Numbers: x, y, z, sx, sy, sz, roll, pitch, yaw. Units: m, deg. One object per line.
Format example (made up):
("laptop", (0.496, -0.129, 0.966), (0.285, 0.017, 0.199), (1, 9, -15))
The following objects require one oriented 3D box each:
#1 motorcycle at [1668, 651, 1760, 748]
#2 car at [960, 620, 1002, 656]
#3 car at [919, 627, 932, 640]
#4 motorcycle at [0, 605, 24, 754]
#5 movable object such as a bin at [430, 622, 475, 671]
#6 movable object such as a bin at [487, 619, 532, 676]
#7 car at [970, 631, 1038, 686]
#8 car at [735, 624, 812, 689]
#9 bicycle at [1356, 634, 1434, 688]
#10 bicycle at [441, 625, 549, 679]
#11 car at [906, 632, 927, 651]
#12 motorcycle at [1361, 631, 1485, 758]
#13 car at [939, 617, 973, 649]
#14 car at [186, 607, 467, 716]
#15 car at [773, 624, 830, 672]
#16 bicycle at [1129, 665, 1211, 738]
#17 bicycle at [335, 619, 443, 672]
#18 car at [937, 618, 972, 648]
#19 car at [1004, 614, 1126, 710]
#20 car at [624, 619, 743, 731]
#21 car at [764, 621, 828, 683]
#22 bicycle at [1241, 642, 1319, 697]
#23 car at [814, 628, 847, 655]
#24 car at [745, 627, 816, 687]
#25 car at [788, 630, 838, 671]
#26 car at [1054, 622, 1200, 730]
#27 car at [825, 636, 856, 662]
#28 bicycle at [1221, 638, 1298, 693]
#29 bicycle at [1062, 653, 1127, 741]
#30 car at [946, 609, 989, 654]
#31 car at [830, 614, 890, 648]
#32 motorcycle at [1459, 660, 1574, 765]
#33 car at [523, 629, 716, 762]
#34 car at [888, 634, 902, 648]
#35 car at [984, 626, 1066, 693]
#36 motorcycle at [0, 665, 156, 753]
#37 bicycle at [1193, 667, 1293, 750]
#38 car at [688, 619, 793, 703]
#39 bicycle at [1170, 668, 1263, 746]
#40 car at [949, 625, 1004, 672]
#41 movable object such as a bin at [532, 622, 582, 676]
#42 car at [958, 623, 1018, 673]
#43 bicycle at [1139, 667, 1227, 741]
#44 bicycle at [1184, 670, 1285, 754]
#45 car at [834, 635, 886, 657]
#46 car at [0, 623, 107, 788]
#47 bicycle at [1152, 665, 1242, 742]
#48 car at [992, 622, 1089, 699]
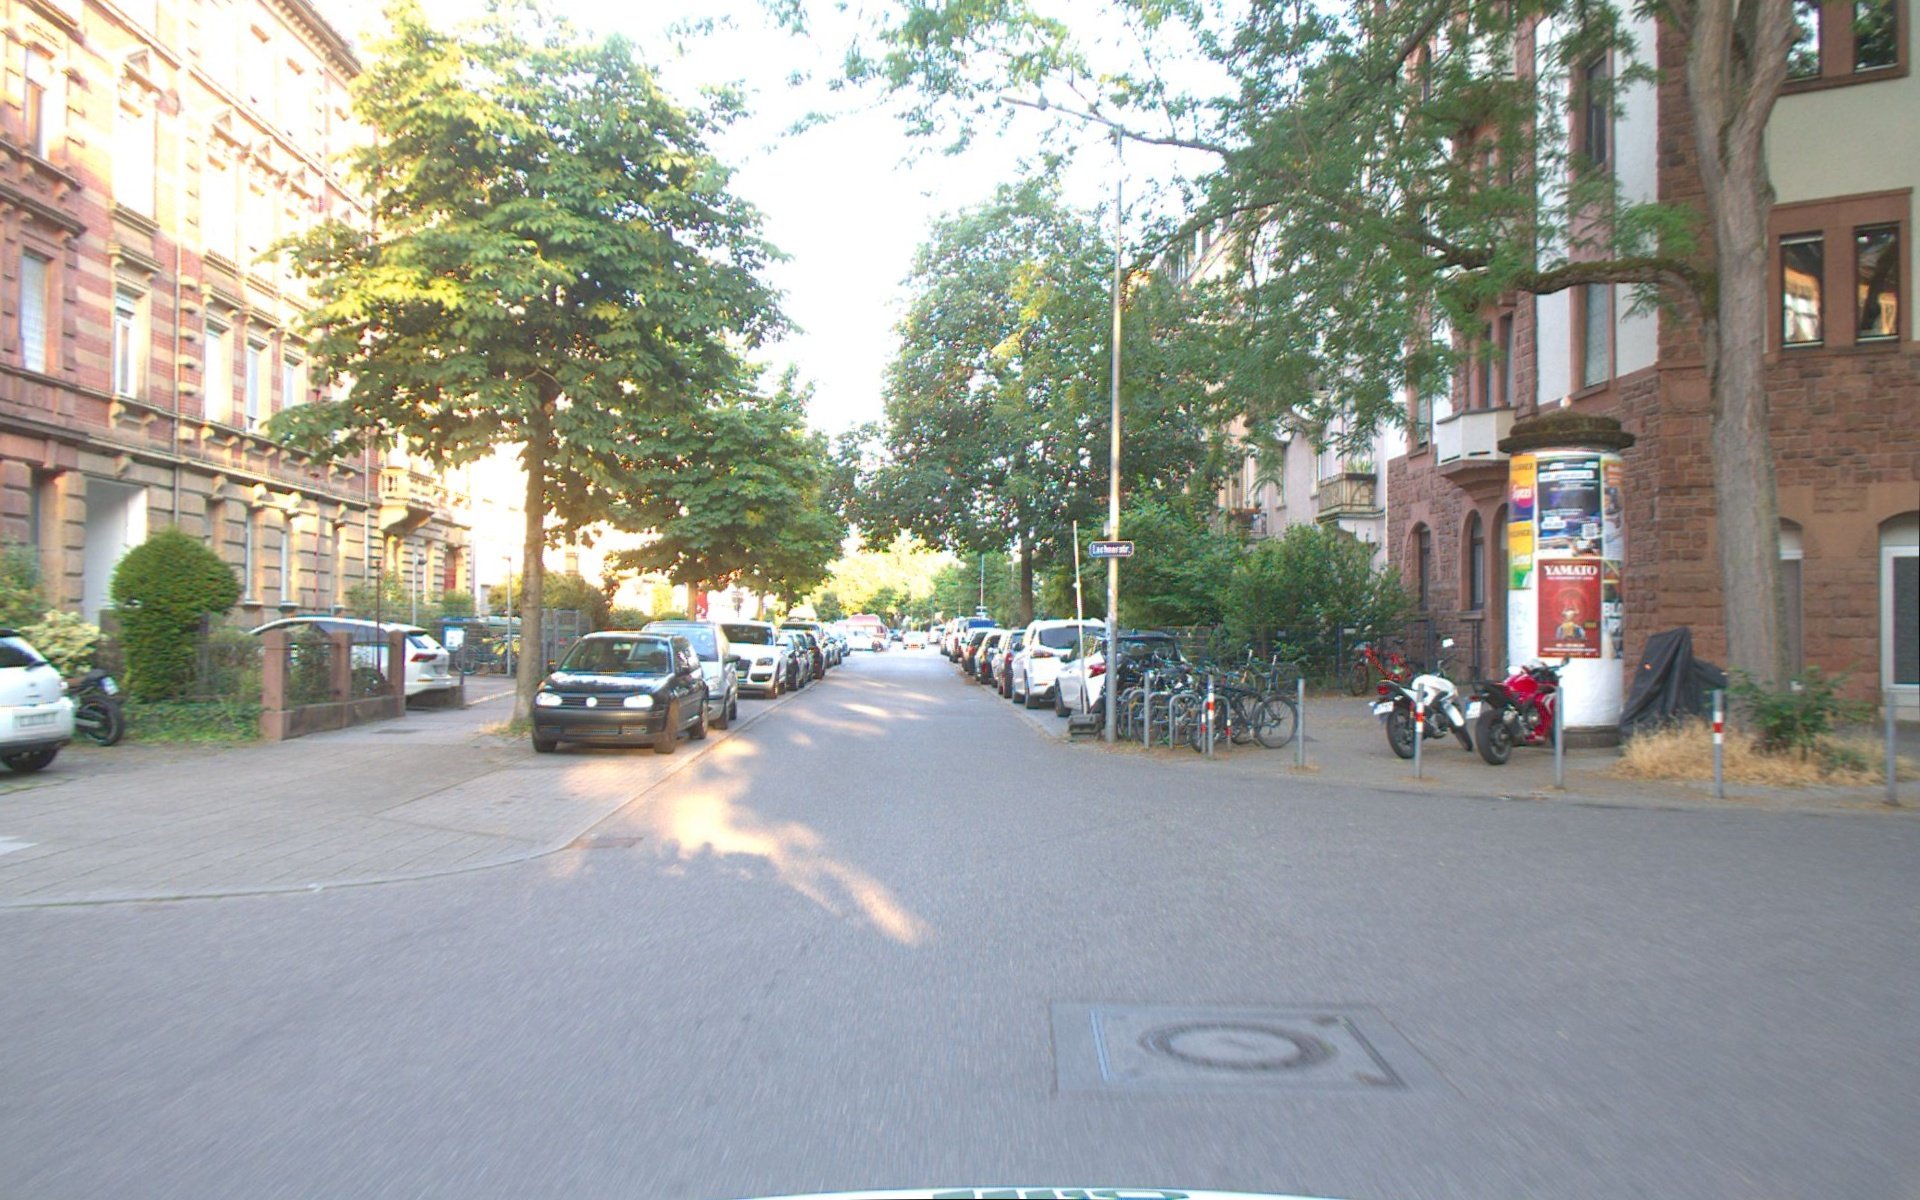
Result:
("motorcycle", (9.506, 1.219, 20.803), (0.430, 1.098, 2.097), (0, 0, 43))
("car", (0.892, 1.671, 72.499), (1.508, 1.548, 3.428), (1, -1, -4))
("car", (-4.475, 4.307, 215.071), (1.681, 1.624, 3.481), (1, -1, -2))
("motorcycle", (-12.122, 0.881, 18.682), (2.791, 1.667, 0.675), (0, -1, 6))
("movable object such as a bin", (-13.510, 1.245, 44.061), (1.079, 1.230, 1.001), (3, 0, -16))
("movable object such as a bin", (-11.916, 1.243, 43.766), (1.079, 1.439, 1.001), (3, 0, -16))
("car", (1.221, 1.663, 47.839), (1.653, 1.466, 4.207), (-2, -1, -2))
("car", (-4.776, 1.457, 42.802), (1.681, 1.594, 3.779), (1, -2, -2))
("bicycle", (8.740, 1.219, 33.226), (1.479, 1.052, 0.330), (-1, 0, -4))
("bicycle", (-11.656, 1.305, 41.493), (2.476, 1.213, 0.644), (3, -1, 4))
("car", (-3.793, 3.591, 143.275), (1.776, 1.624, 3.481), (1, -1, -2))
("motorcycle", (5.702, 1.121, 20.292), (0.575, 1.433, 2.200), (0, 0, 41))
("car", (-0.253, 1.928, 96.795), (1.653, 1.843, 3.936), (1, -1, -4))
("car", (-10.647, 1.022, 28.030), (4.012, 1.554, 1.708), (3, -1, -3))
("car", (-5.539, 1.666, 58.136), (1.681, 1.624, 4.517), (1, -1, -2))
("bicycle", (2.971, 1.429, 23.366), (1.211, 0.968, 0.327), (0, 0, -30))
("bicycle", (-14.561, 1.161, 42.213), (2.484, 1.213, 0.641), (3, -1, -13))
("car", (-0.328, 1.818, 90.634), (1.653, 1.634, 3.936), (1, -1, -4))
("car", (1.992, 1.185, 32.635), (1.763, 1.741, 4.596), (0, -1, -4))
("car", (-4.303, 1.126, 26.195), (1.564, 1.631, 3.740), (1, -1, -5))
("car", (-5.021, 1.556, 51.163), (1.681, 1.822, 4.213), (1, -1, -2))
("bicycle", (6.359, 1.371, 32.914), (1.479, 1.052, 0.330), (-1, 0, -4))
("car", (-7.441, 2.397, 95.311), (1.681, 1.512, 3.629), (1, -2, -1))
("car", (-5.057, 1.581, 46.968), (1.681, 1.594, 3.786), (1, -1, -2))
("car", (-5.567, 1.887, 62.936), (1.681, 1.491, 3.985), (1, -1, -2))
("car", (2.634, 1.171, 26.837), (1.654, 1.620, 3.654), (0, -1, -6))
("car", (-7.306, 2.980, 101.234), (1.681, 1.466, 3.629), (1, -1, -1))
("bicycle", (6.054, 1.319, 33.424), (1.479, 1.052, 0.330), (-1, 0, -4))
("bicycle", (1.933, 1.353, 23.551), (0.434, 1.194, 1.635), (0, -1, 23))
("car", (0.338, 1.469, 76.207), (1.647, 1.975, 3.876), (1, -1, -4))
("car", (-7.148, 2.231, 118.451), (4.263, 2.359, 1.744), (1, -1, -4))
("motorcycle", (6.547, 1.289, 19.381), (0.430, 1.098, 2.199), (0, 0, 43))
("car", (-4.217, 1.138, 21.033), (1.583, 1.496, 3.961), (1, -1, 1))
("car", (-8.095, 5.073, 205.435), (1.681, 1.624, 3.481), (1, -1, -2))
("car", (1.629, 1.500, 42.534), (1.653, 1.634, 3.744), (1, -1, -4))
("motorcycle", (-10.672, 1.268, 19.472), (2.188, 0.975, 0.588), (1, -1, 7))
("bicycle", (3.613, 1.376, 21.141), (1.200, 1.005, 0.330), (-1, 0, -6))
("car", (-4.875, 1.321, 37.284), (1.883, 1.747, 4.425), (1, -1, -2))
("bicycle", (3.364, 1.394, 21.674), (1.205, 0.980, 0.328), (0, 0, -19))
("car", (0.580, 1.753, 60.232), (1.653, 1.634, 3.936), (1, -1, -4))
("movable object such as a bin", (-10.710, 1.294, 43.978), (0.992, 1.344, 1.005), (2, 0, 3))
("car", (0.917, 1.612, 55.923), (1.653, 1.634, 3.936), (1, -1, -4))
("bicycle", (3.071, 1.418, 22.756), (1.208, 0.964, 0.328), (0, 0, -25))
("bicycle", (3.437, 1.404, 20.757), (1.200, 1.004, 0.330), (-1, 0, -4))
("car", (-7.010, 3.213, 115.659), (3.548, 1.487, 1.604), (1, -1, -6))
("car", (-10.422, 0.960, 15.929), (3.487, 1.472, 1.819), (1, 0, 7))
("bicycle", (3.164, 1.371, 22.060), (1.208, 0.974, 0.328), (0, 0, -25))
("car", (1.761, 1.339, 37.292), (1.653, 1.634, 4.205), (1, -1, -4))
